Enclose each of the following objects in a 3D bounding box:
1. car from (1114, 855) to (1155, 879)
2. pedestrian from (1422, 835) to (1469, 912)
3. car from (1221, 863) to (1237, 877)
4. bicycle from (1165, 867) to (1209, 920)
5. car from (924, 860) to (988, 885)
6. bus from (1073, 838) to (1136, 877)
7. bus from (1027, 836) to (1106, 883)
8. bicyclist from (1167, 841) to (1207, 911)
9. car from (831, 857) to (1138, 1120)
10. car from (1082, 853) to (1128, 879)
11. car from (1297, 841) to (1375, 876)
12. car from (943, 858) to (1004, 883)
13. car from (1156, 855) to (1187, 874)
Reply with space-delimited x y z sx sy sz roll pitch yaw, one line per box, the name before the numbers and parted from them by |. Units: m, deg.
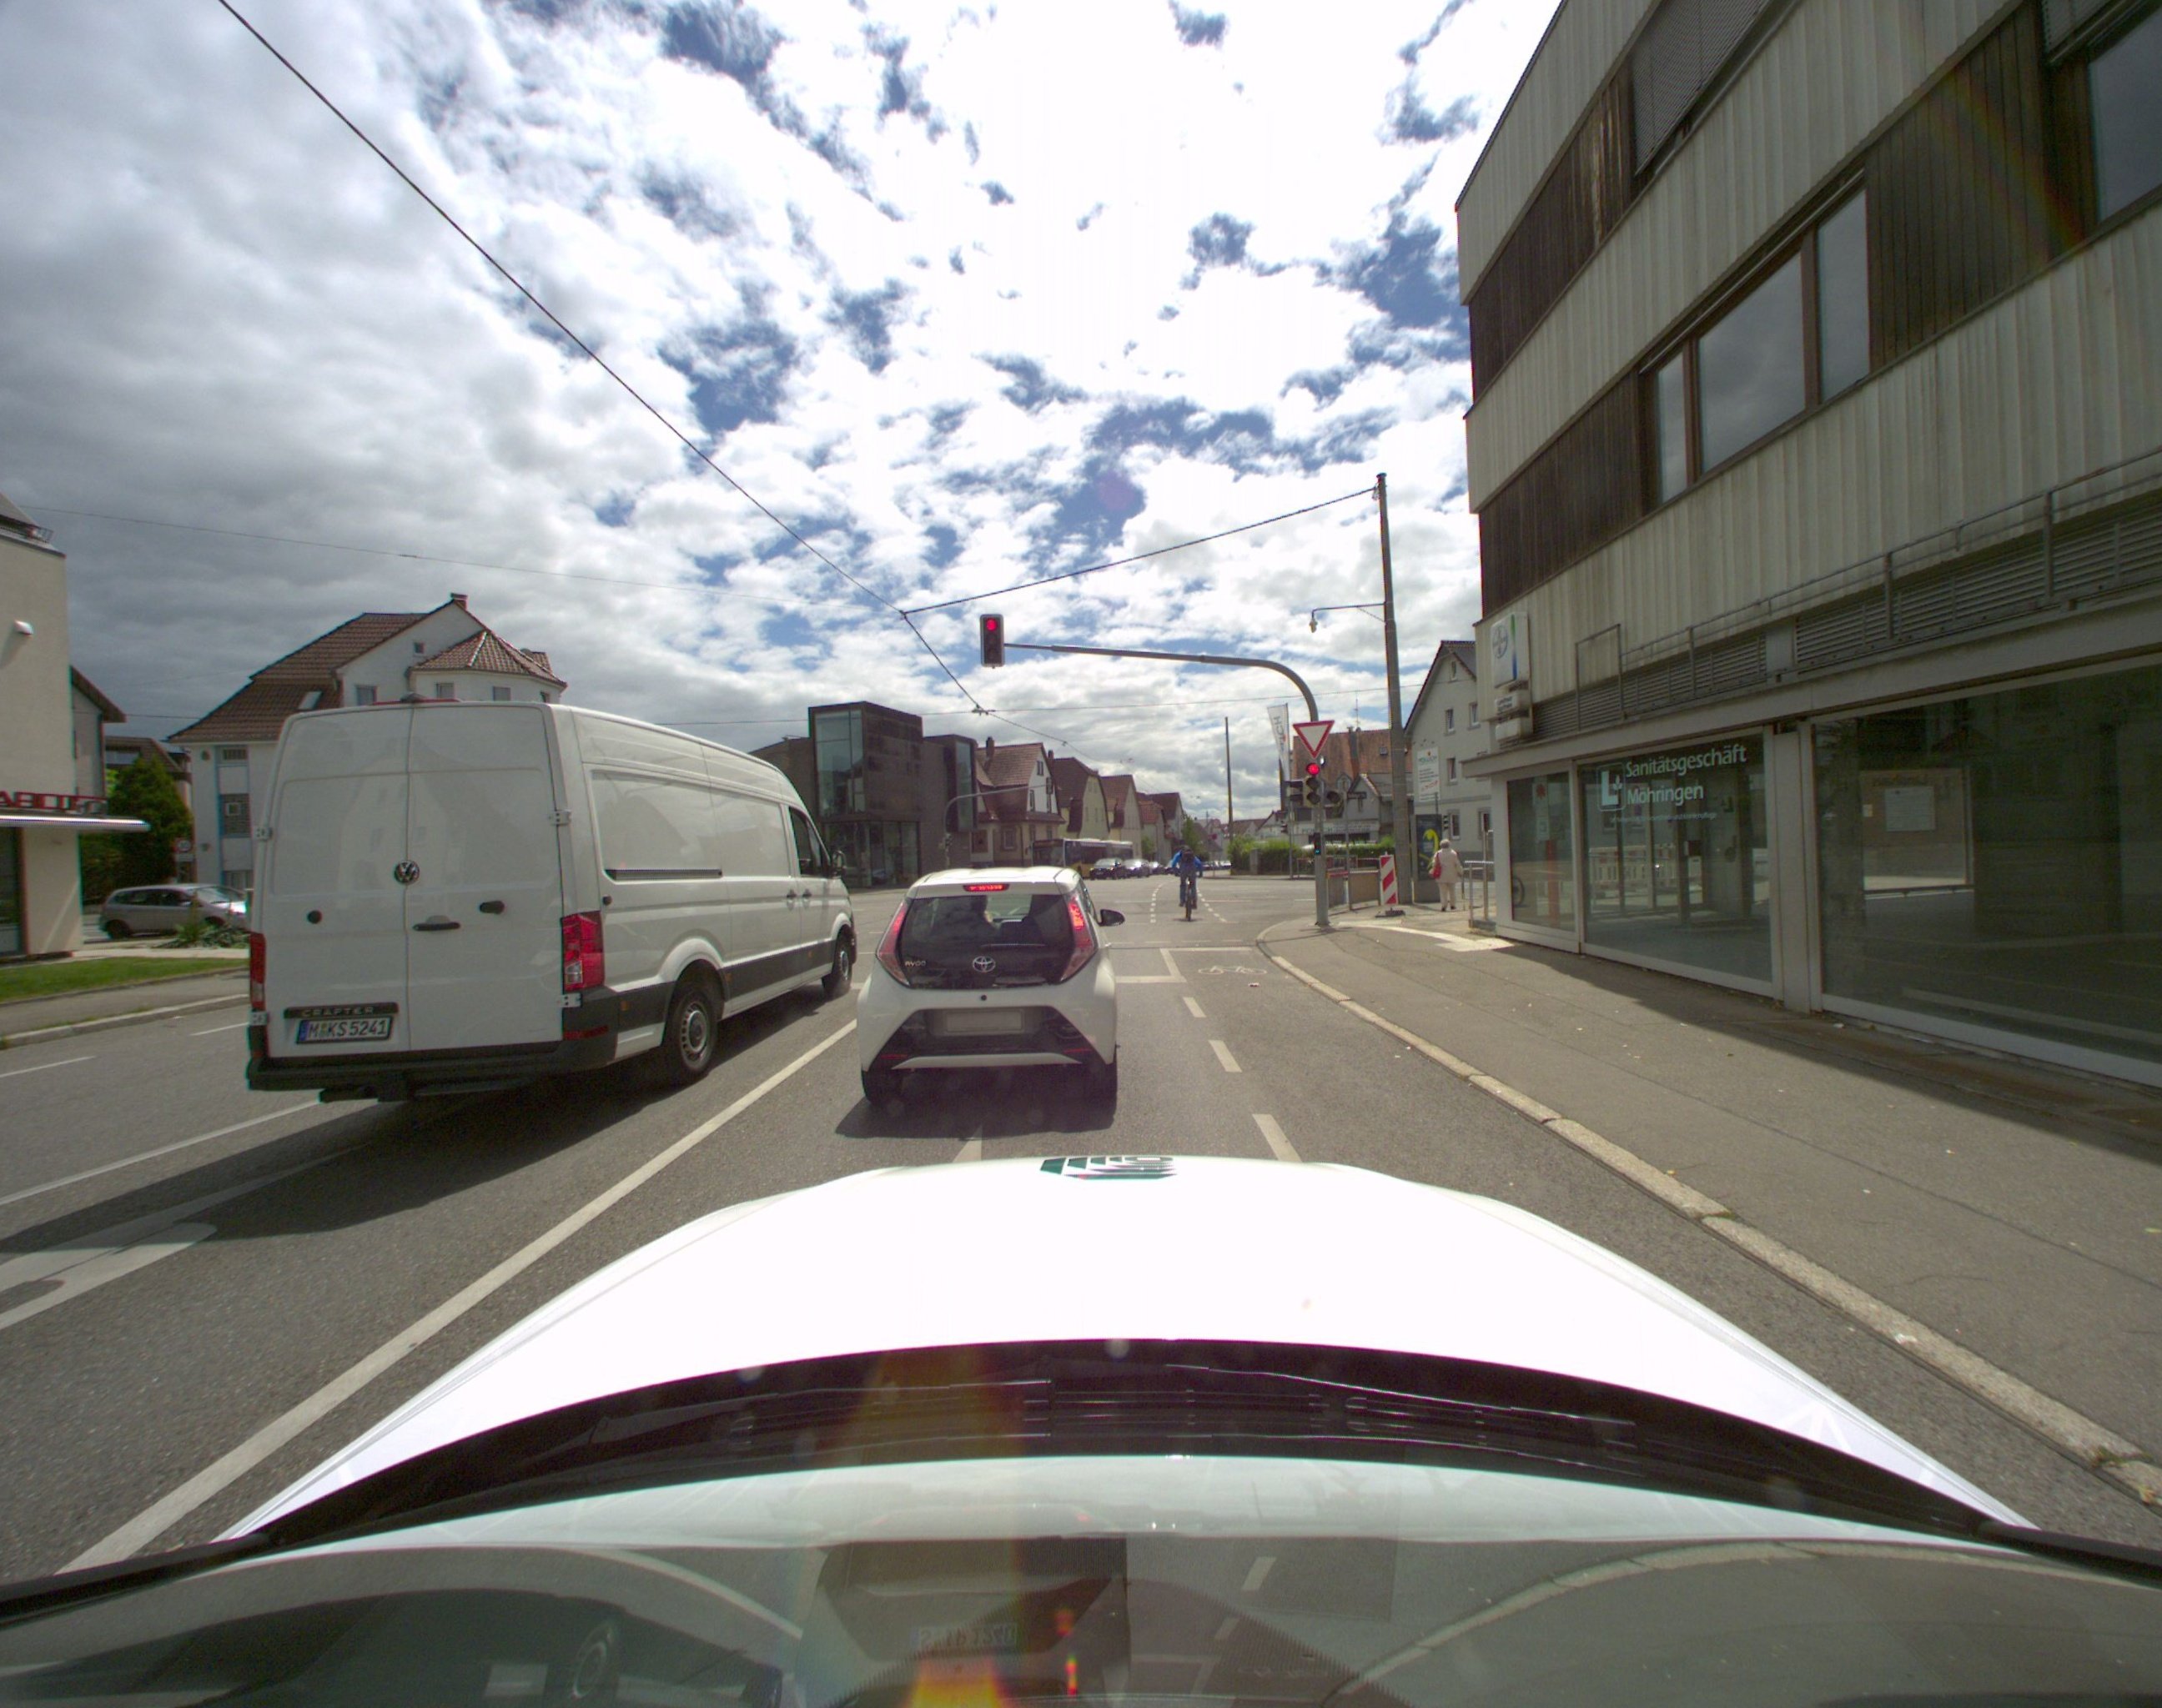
car | 4.018 0.946 60.371 1.977 1.640 4.204 -1 0 19
pedestrian | 8.011 0.418 17.931 0.827 1.637 0.878 -2 0 18
car | 22.651 2.407 124.675 1.979 2.013 4.016 -1 0 15
bicycle | 2.530 0.917 19.596 0.829 1.164 2.192 0 0 2
car | -8.816 1.274 57.759 3.958 1.640 2.008 1 0 15
bus | 2.116 0.252 67.295 2.756 2.914 9.233 -1 0 17
bus | -0.820 0.353 58.151 2.756 3.060 9.233 -1 0 17
bicyclist | 2.528 0.519 19.527 0.837 1.614 1.083 1 0 1
car | -0.562 0.785 6.501 1.733 1.460 3.531 -2 0 0
car | 1.672 0.801 55.404 1.977 1.640 4.020 -1 0 19
car | 15.353 0.268 49.135 3.983 2.013 1.995 -1 0 -7
car | -7.987 1.239 60.635 3.957 1.684 2.008 -2 0 15
car | 8.670 0.988 77.691 1.977 1.640 4.020 -1 0 19
